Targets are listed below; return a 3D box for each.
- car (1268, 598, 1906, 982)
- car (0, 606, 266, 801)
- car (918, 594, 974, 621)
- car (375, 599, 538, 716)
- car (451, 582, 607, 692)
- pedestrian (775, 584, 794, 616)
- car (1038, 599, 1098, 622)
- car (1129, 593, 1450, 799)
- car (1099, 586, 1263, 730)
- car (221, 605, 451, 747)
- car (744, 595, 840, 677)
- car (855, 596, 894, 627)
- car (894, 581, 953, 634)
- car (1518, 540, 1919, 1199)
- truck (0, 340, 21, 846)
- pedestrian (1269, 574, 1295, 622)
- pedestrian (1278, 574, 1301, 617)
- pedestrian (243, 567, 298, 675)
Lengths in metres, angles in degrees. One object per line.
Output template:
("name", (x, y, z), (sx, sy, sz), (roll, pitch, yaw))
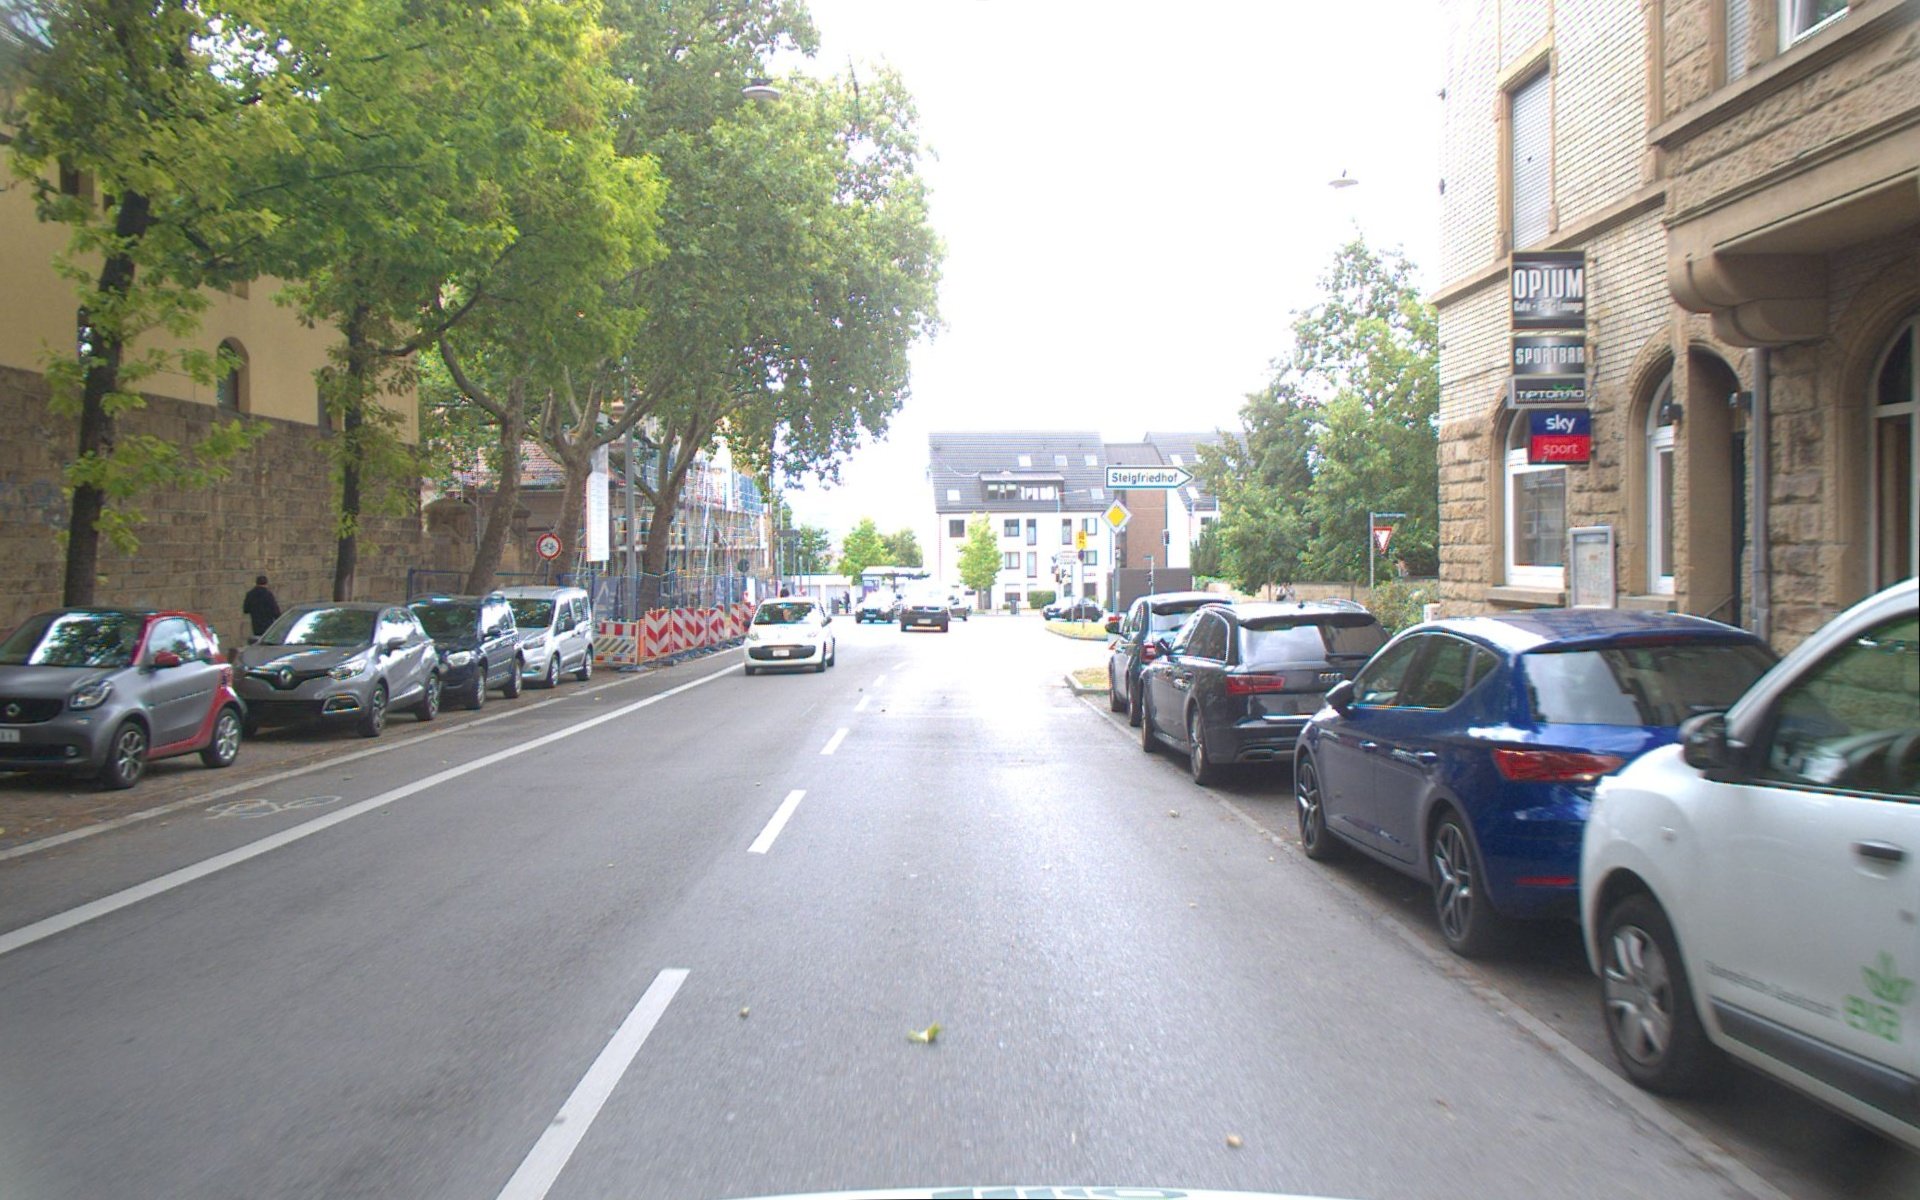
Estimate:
("car", (2.885, 0.748, 8.681), (1.573, 1.421, 4.274), (-3, 0, -2))
("car", (-7.871, 0.878, 15.419), (1.450, 1.601, 2.992), (1, 0, 1))
("car", (-0.719, 0.389, 89.786), (1.665, 1.451, 3.696), (0, 0, 24))
("car", (-7.822, 0.846, 26.039), (1.478, 1.660, 4.113), (1, 0, -3))
("car", (-8.141, 0.644, 31.624), (1.796, 1.909, 4.416), (-1, 0, 0))
("pedestrian", (-9.740, -0.015, 91.801), (0.903, 1.750, 0.799), (1, -1, 2))
("car", (6.769, 0.637, 103.280), (1.672, 1.451, 4.230), (0, 0, 38))
("car", (2.749, 0.715, 14.944), (1.704, 1.488, 4.773), (-2, 0, -3))
("car", (2.714, 0.658, 21.007), (1.533, 1.638, 3.653), (-1, 0, -1))
("car", (-7.777, 0.881, 20.991), (1.562, 1.601, 4.084), (1, 0, -4))
("car", (-3.367, 0.694, 33.629), (1.551, 1.489, 3.651), (-3, 0, -1))
("car", (-4.039, 0.529, 78.712), (1.665, 1.451, 4.248), (0, 0, -1))
("car", (-1.370, 0.267, 64.578), (2.159, 1.965, 5.240), (0, 0, 0))
("car", (3.061, 0.671, 3.915), (1.646, 1.692, 4.540), (-2, 0, -4))
("truck", (-7.585, -0.048, 7.906), (2.170, 3.476, 7.245), (1, 0, -2))
("pedestrian", (11.861, -0.078, 60.914), (0.703, 1.765, 0.653), (1, 0, -34))
("pedestrian", (12.749, -0.182, 64.025), (0.573, 1.612, 0.569), (-4, 1, -29))
("pedestrian", (-11.835, 0.357, 28.398), (0.580, 1.831, 0.742), (1, -1, 0))
